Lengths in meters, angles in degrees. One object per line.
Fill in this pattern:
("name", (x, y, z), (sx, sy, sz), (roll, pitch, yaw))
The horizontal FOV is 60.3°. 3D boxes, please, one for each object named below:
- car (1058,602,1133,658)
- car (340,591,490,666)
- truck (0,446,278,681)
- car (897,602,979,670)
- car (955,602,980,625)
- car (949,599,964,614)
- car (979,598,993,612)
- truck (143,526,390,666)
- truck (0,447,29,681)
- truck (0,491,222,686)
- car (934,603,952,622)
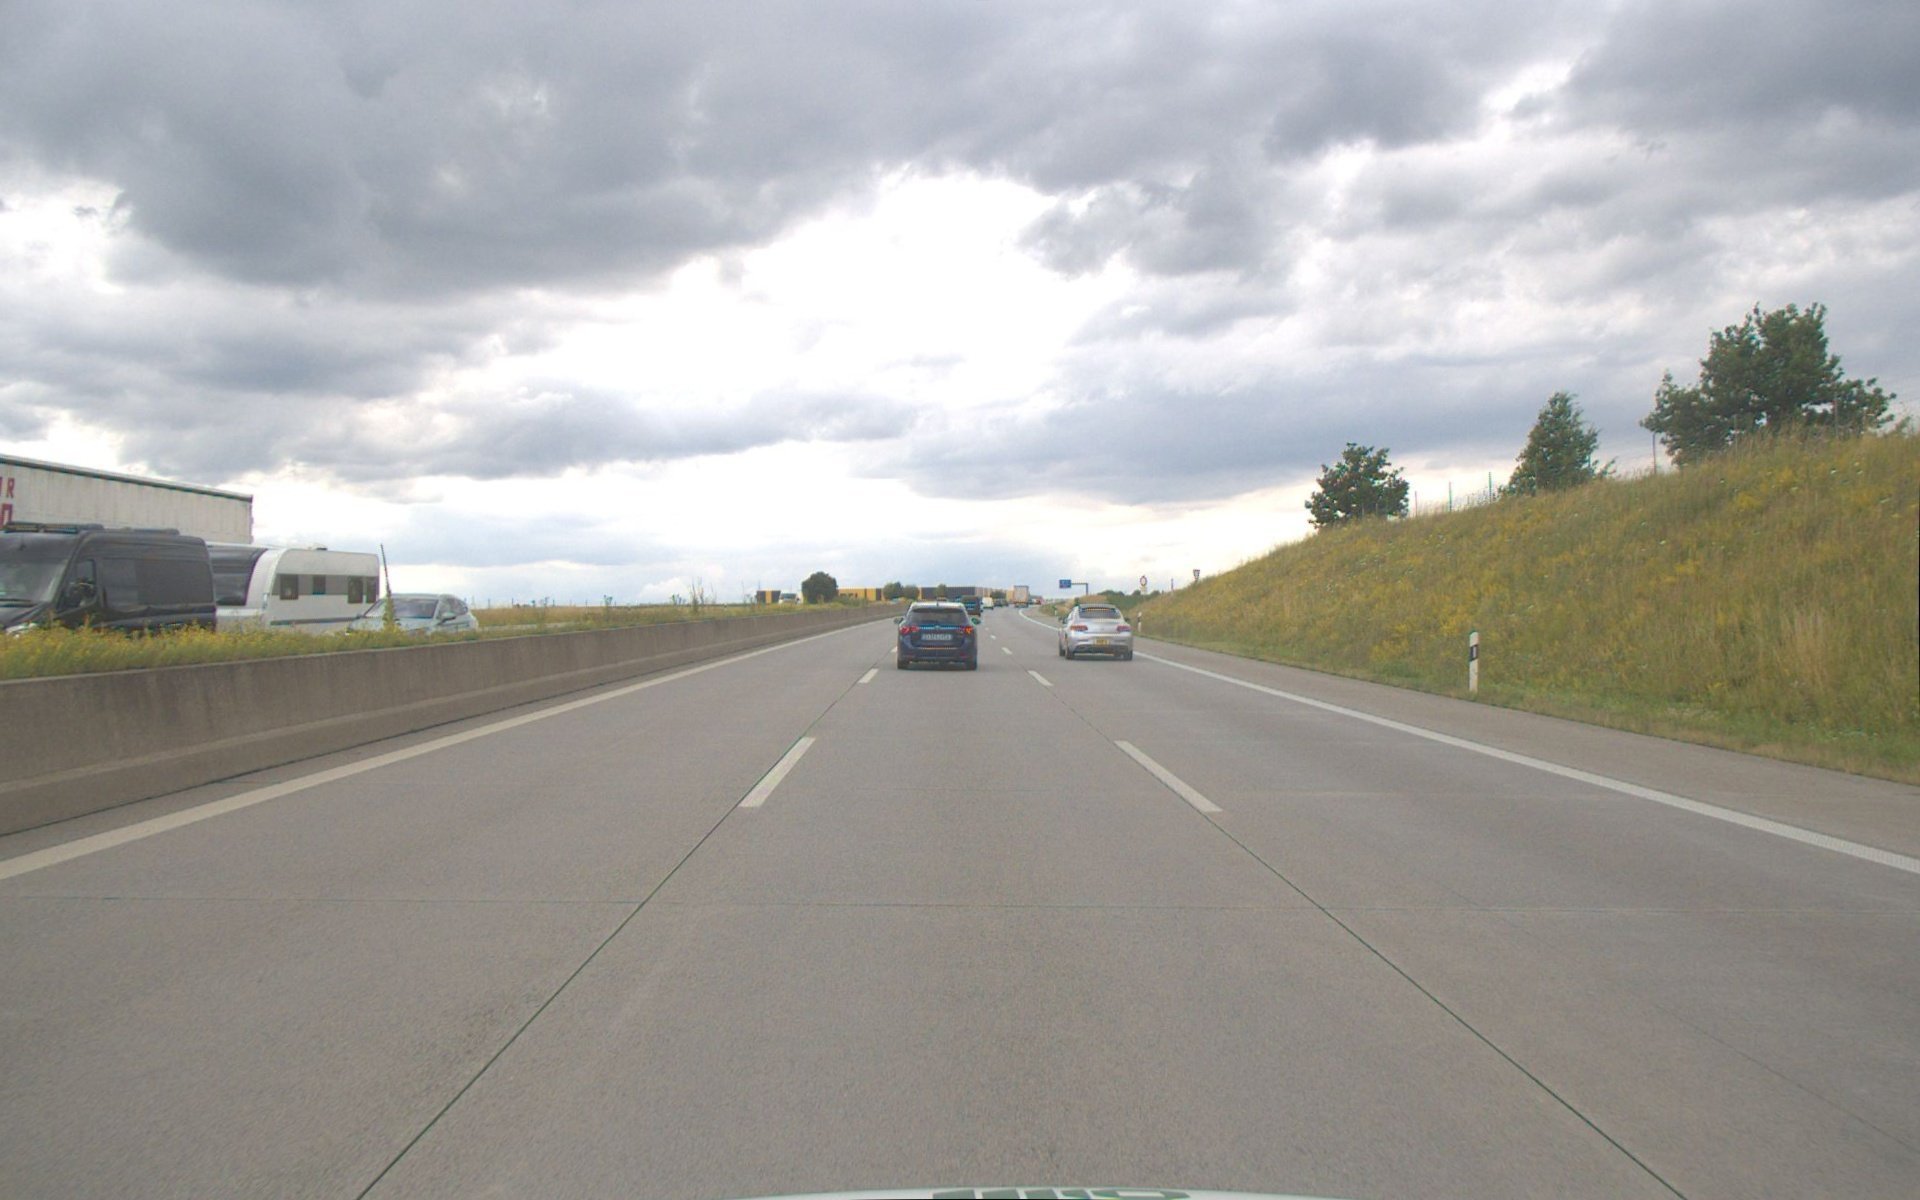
("car", (3.595, 0.791, 44.396), (1.752, 1.428, 4.221), (0, 0, 1))
("car", (-11.631, 0.577, 35.592), (1.953, 1.507, 4.210), (0, 0, -2))
("truck", (-19.172, -0.610, 35.846), (2.783, 4.330, 14.564), (1, -1, 0))
("car", (-0.484, 0.773, 36.940), (1.738, 1.438, 3.999), (0, 0, -1))
("car", (0.630, 1.203, 147.677), (1.954, 2.049, 3.997), (1, -1, -3))
("car", (-0.557, 0.986, 246.335), (1.954, 2.049, 3.997), (1, -1, -4))
("car", (3.886, 0.789, 248.393), (1.952, 2.049, 4.000), (1, -1, 1))
("truck", (-15.126, -0.080, 36.717), (2.562, 2.773, 6.918), (1, 0, 0))
("truck", (-19.129, -0.721, 28.377), (2.783, 4.330, 6.090), (1, -1, -1))
("truck", (-14.734, -0.187, 27.076), (2.205, 2.773, 7.124), (1, 0, -1))
("car", (-1.962, 1.453, 187.557), (2.004, 2.049, 3.999), (1, -1, 0))
